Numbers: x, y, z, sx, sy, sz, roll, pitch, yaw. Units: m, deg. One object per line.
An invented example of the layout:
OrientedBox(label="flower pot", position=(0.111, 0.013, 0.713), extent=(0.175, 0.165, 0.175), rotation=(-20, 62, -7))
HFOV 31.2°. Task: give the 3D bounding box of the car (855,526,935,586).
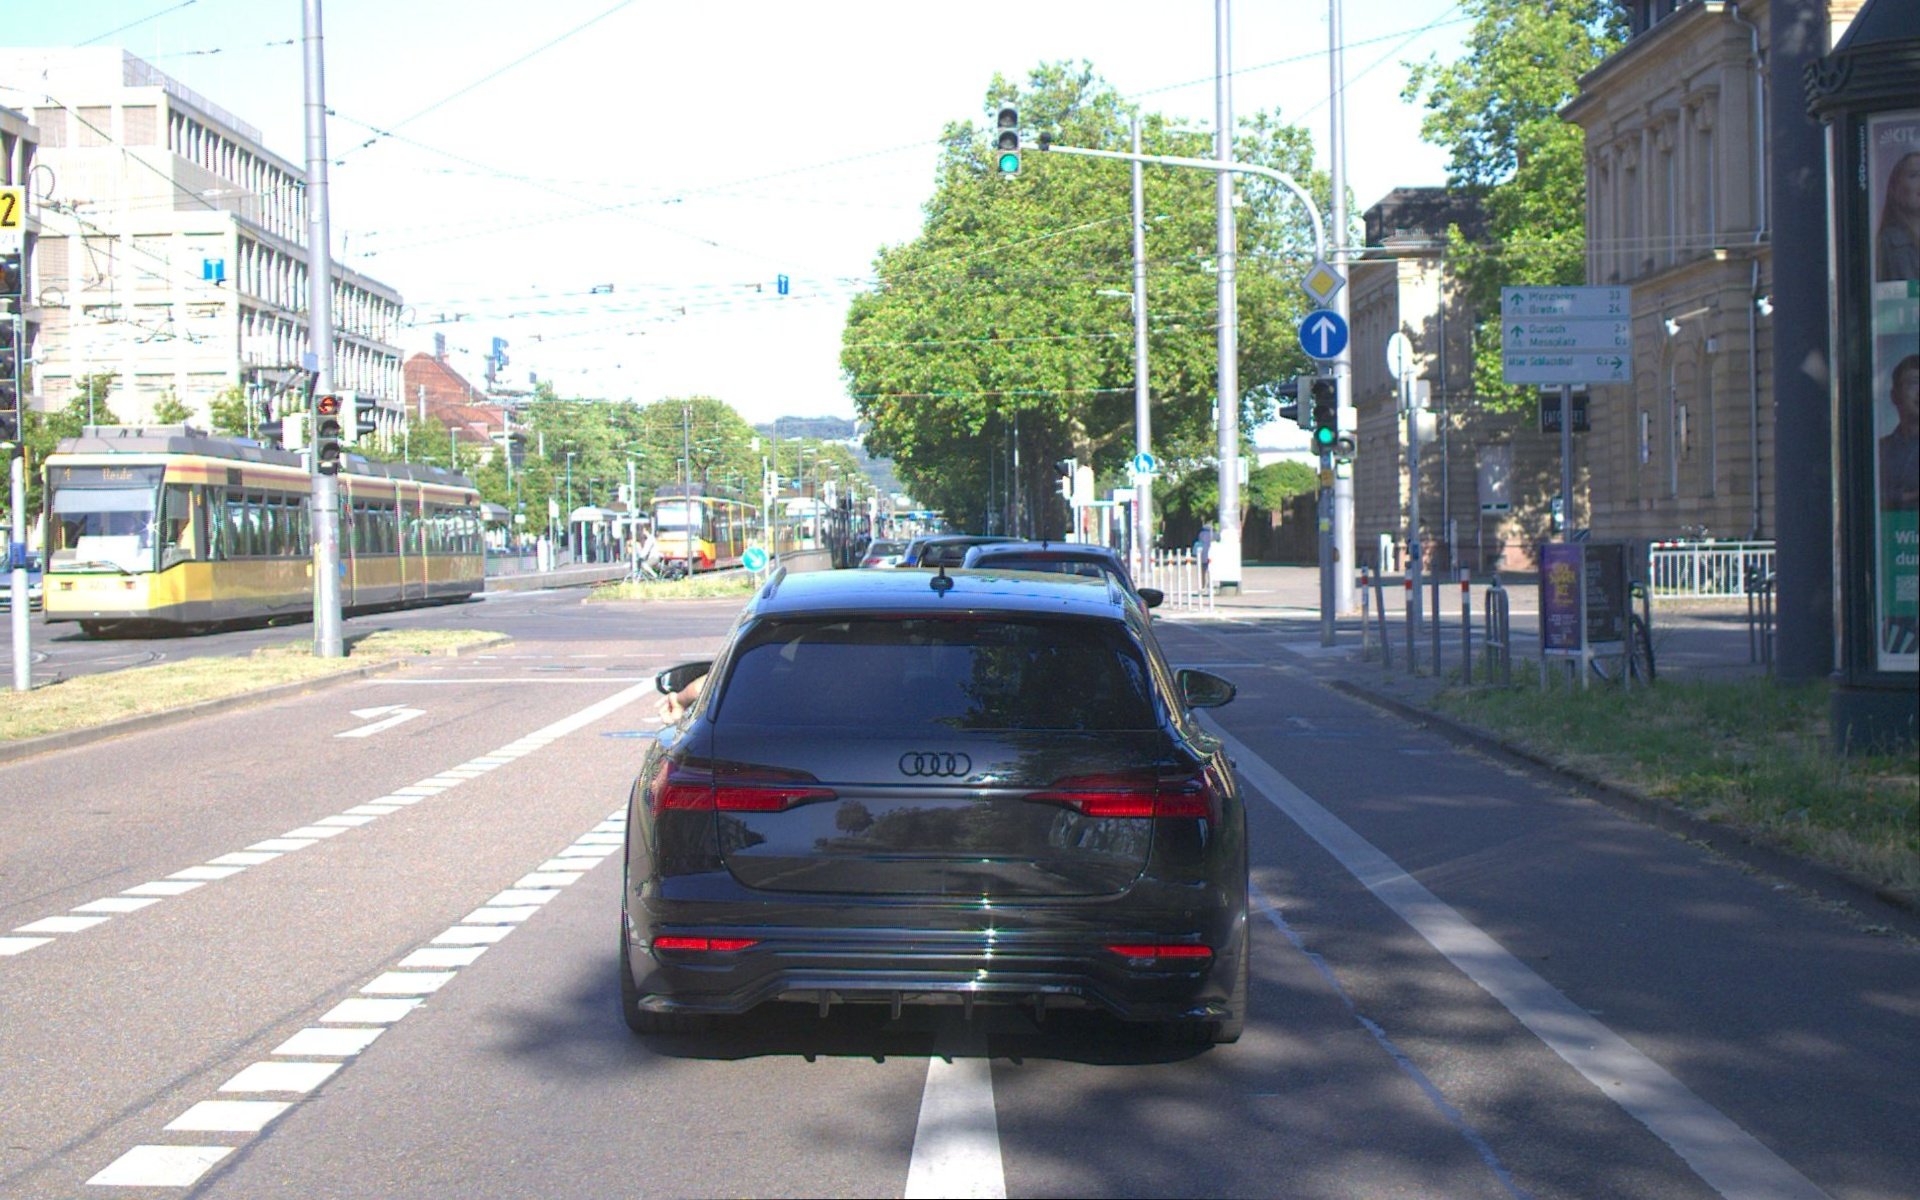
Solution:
OrientedBox(label="car", position=(-1.705, -1.146, 88.642), extent=(1.902, 1.481, 4.145), rotation=(1, 1, -3))

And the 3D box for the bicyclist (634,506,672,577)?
OrientedBox(label="bicyclist", position=(-7.858, -1.494, 88.003), extent=(0.756, 1.812, 0.765), rotation=(-1, 1, -20))

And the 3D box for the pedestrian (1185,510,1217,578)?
OrientedBox(label="pedestrian", position=(5.928, -1.376, 84.709), extent=(0.682, 1.655, 0.758), rotation=(-1, 1, -2))

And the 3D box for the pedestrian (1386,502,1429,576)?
OrientedBox(label="pedestrian", position=(11.429, -1.561, 87.793), extent=(0.979, 1.859, 0.827), rotation=(-1, 1, 2))

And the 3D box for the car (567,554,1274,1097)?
OrientedBox(label="car", position=(-0.107, 0.587, 11.436), extent=(1.902, 1.417, 4.145), rotation=(1, 1, 0))

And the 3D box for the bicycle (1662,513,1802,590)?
OrientedBox(label="bicycle", position=(12.959, -0.812, 57.727), extent=(2.136, 1.205, 0.765), rotation=(-2, 1, -2))

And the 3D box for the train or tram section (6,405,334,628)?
OrientedBox(label="train or tram section", position=(-13.711, -1.452, 61.039), extent=(2.813, 3.477, 13.204), rotation=(-1, 1, 0))

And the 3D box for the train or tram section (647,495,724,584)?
OrientedBox(label="train or tram section", position=(-11.152, -2.482, 140.375), extent=(2.608, 3.439, 11.134), rotation=(-1, 1, -2))

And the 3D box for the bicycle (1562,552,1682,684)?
OrientedBox(label="bicycle", position=(5.528, 0.133, 28.782), extent=(0.540, 1.058, 1.772), rotation=(-1, 1, -4))

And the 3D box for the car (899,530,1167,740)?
OrientedBox(label="car", position=(0.525, 0.213, 26.830), extent=(1.902, 1.481, 4.145), rotation=(1, 1, 0))

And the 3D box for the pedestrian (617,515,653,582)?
OrientedBox(label="pedestrian", position=(-8.455, -1.348, 89.450), extent=(0.739, 1.735, 0.664), rotation=(-1, 1, -22))

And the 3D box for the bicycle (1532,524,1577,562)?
OrientedBox(label="bicycle", position=(16.675, -1.595, 96.478), extent=(0.526, 1.043, 2.360), rotation=(-1, 1, -8))

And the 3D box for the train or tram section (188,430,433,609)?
OrientedBox(label="train or tram section", position=(-13.794, -1.713, 74.240), extent=(2.813, 3.477, 13.204), rotation=(-1, 1, 0))

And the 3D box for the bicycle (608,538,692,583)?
OrientedBox(label="bicycle", position=(-7.941, -1.011, 87.990), extent=(2.005, 1.104, 0.765), rotation=(-1, 1, -20))

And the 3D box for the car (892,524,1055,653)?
OrientedBox(label="car", position=(0.158, -0.177, 42.724), extent=(1.902, 1.481, 4.145), rotation=(1, 1, 0))

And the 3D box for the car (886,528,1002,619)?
OrientedBox(label="car", position=(-0.265, -0.482, 59.559), extent=(1.902, 1.481, 4.145), rotation=(1, 1, 0))

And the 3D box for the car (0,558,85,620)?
OrientedBox(label="car", position=(-23.078, -0.281, 85.314), extent=(1.820, 1.452, 4.157), rotation=(-1, 1, -3))

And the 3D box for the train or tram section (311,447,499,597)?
OrientedBox(label="train or tram section", position=(-13.870, -1.958, 86.913), extent=(2.813, 3.477, 12.154), rotation=(-1, 1, 0))
